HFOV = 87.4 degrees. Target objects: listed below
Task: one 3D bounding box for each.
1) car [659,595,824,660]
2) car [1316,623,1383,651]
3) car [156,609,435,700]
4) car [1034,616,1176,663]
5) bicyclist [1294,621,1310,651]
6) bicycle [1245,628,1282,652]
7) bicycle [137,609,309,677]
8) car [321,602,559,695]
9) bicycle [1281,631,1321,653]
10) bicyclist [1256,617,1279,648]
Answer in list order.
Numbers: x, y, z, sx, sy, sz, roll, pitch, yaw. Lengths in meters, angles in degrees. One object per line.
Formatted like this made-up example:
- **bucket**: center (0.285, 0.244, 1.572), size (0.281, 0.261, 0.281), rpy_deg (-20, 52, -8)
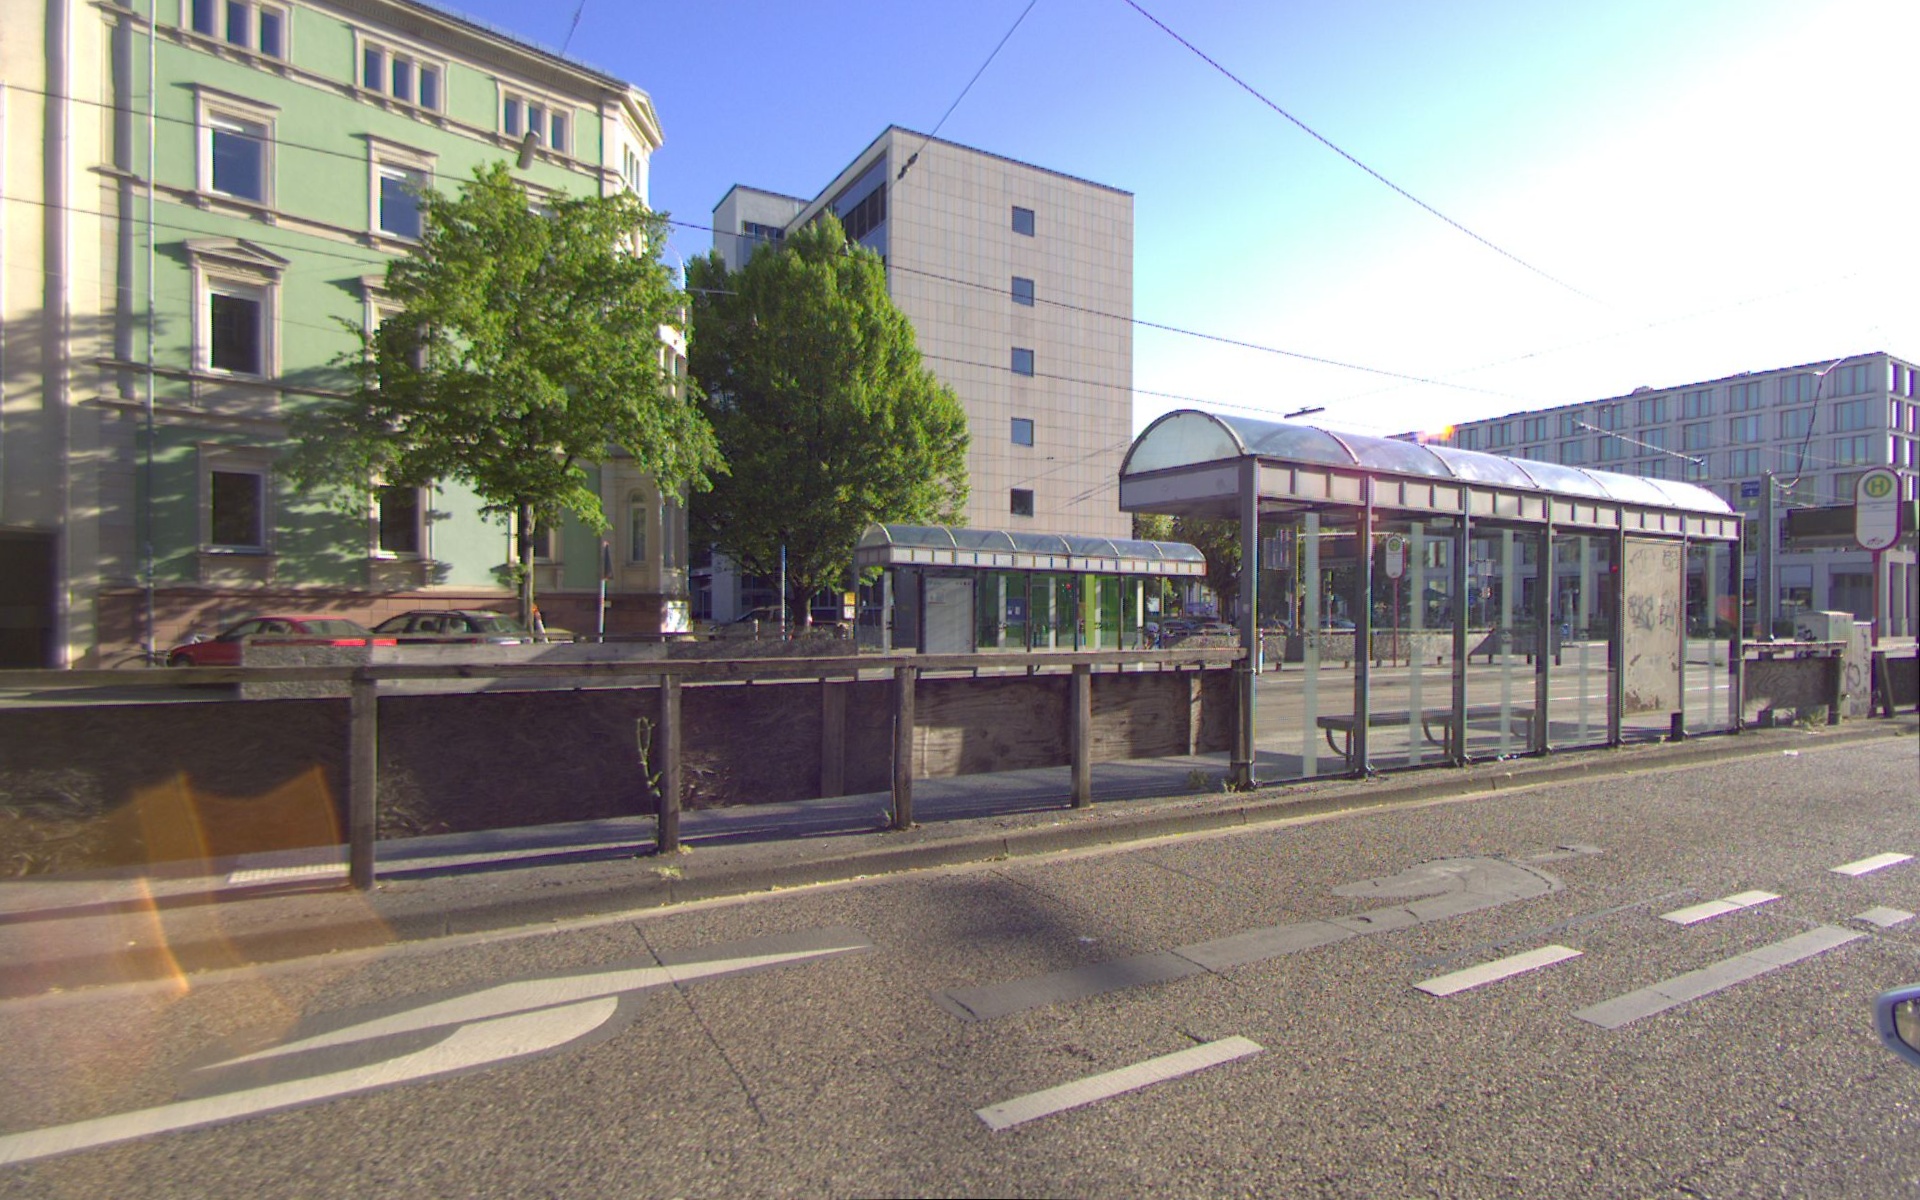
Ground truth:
- **car**: center (-6.064, 0.730, 27.789), size (4.432, 1.590, 1.588), rpy_deg (2, 0, 28)
- **car**: center (23.025, 2.179, 59.533), size (1.506, 1.526, 3.511), rpy_deg (1, 0, -32)
- **car**: center (-12.461, 0.966, 18.911), size (4.424, 1.444, 1.874), rpy_deg (2, 0, 14)
- **car**: center (4.867, 1.295, 33.779), size (4.432, 1.368, 1.588), rpy_deg (2, 0, 28)
- **bicyclist**: center (18.450, 1.917, 54.217), size (0.612, 1.603, 0.590), rpy_deg (0, -1, 44)
- **bicycle**: center (17.046, 2.254, 56.433), size (0.874, 1.305, 2.042), rpy_deg (1, -1, -24)
- **bicycle**: center (-16.246, 0.916, 22.232), size (0.709, 1.416, 2.991), rpy_deg (0, -1, 45)
- **car**: center (-10.780, 0.959, 20.870), size (4.424, 1.663, 1.591), rpy_deg (2, 0, 14)
- **bicycle**: center (18.441, 2.283, 54.293), size (0.785, 1.137, 1.904), rpy_deg (1, -1, -45)
- **bicyclist**: center (17.191, 1.829, 56.146), size (0.833, 1.717, 0.887), rpy_deg (1, -1, -25)
